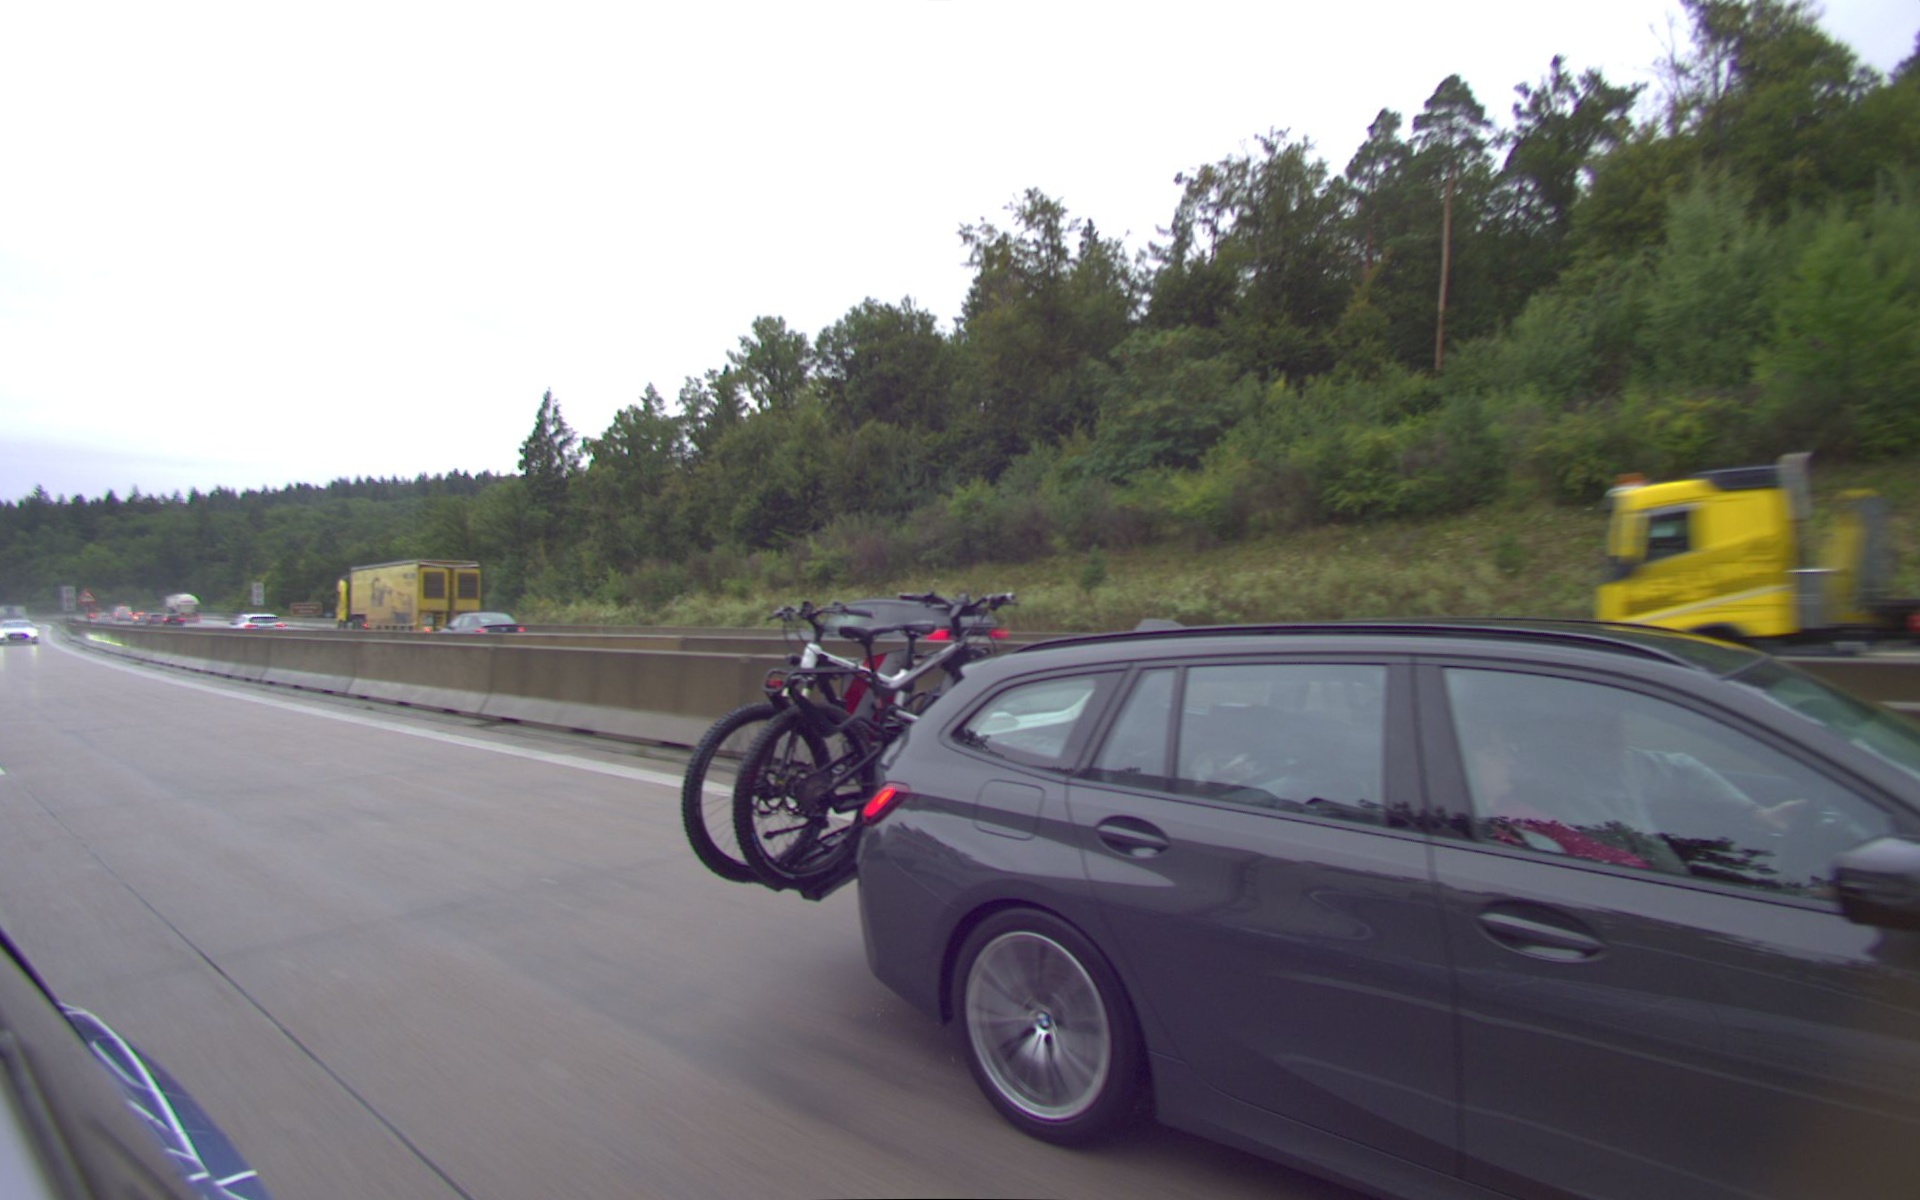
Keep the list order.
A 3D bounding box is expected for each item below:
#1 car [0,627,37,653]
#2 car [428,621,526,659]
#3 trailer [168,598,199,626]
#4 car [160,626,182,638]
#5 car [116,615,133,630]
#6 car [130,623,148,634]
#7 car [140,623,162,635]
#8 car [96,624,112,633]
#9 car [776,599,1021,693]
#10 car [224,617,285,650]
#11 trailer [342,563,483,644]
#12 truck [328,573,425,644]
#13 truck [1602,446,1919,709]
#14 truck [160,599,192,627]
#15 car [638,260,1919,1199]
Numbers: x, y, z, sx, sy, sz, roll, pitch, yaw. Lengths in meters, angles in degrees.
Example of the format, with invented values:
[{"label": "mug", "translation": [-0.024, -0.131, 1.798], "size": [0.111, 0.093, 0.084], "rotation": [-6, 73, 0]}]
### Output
[{"label": "car", "translation": [-55.070, 2.322, 59.026], "size": [1.692, 1.418, 4.939], "rotation": [-1, -1, -44]}, {"label": "car", "translation": [-16.955, 1.372, 35.413], "size": [4.546, 1.207, 1.635], "rotation": [-1, 0, 44]}, {"label": "trailer", "translation": [-104.958, 1.668, 136.762], "size": [2.515, 3.694, 8.238], "rotation": [-1, 0, -43]}, {"label": "car", "translation": [-82.648, 3.339, 105.980], "size": [1.493, 1.174, 4.408], "rotation": [-1, 0, -43]}, {"label": "car", "translation": [-142.049, 3.770, 172.034], "size": [1.970, 2.467, 6.753], "rotation": [-1, 0, -42]}, {"label": "car", "translation": [-115.662, 4.017, 142.575], "size": [1.639, 1.382, 4.726], "rotation": [-1, 0, -43]}, {"label": "car", "translation": [-96.299, 3.420, 120.498], "size": [1.780, 1.343, 4.570], "rotation": [-1, 0, -42]}, {"label": "car", "translation": [-134.276, 4.435, 158.741], "size": [1.639, 1.382, 4.763], "rotation": [-1, 0, -43]}, {"label": "car", "translation": [-1.106, 0.712, 16.805], "size": [4.084, 1.356, 1.636], "rotation": [-1, 0, 41]}, {"label": "car", "translation": [-34.327, 1.601, 49.213], "size": [4.547, 1.490, 1.635], "rotation": [-1, 0, 45]}, {"label": "trailer", "translation": [-29.820, 0.258, 54.612], "size": [2.979, 3.904, 13.709], "rotation": [-1, -1, -44]}, {"label": "truck", "translation": [-34.121, 0.515, 59.009], "size": [2.991, 3.904, 8.122], "rotation": [-1, -1, -44]}, {"label": "truck", "translation": [13.954, -0.311, 12.962], "size": [9.375, 3.321, 2.595], "rotation": [-1, -1, 40]}, {"label": "truck", "translation": [-110.512, 1.854, 142.635], "size": [2.534, 3.694, 10.501], "rotation": [-1, 0, -43]}, {"label": "car", "translation": [1.679, 0.465, 2.651], "size": [6.159, 1.959, 1.888], "rotation": [-1, -1, 41]}]
